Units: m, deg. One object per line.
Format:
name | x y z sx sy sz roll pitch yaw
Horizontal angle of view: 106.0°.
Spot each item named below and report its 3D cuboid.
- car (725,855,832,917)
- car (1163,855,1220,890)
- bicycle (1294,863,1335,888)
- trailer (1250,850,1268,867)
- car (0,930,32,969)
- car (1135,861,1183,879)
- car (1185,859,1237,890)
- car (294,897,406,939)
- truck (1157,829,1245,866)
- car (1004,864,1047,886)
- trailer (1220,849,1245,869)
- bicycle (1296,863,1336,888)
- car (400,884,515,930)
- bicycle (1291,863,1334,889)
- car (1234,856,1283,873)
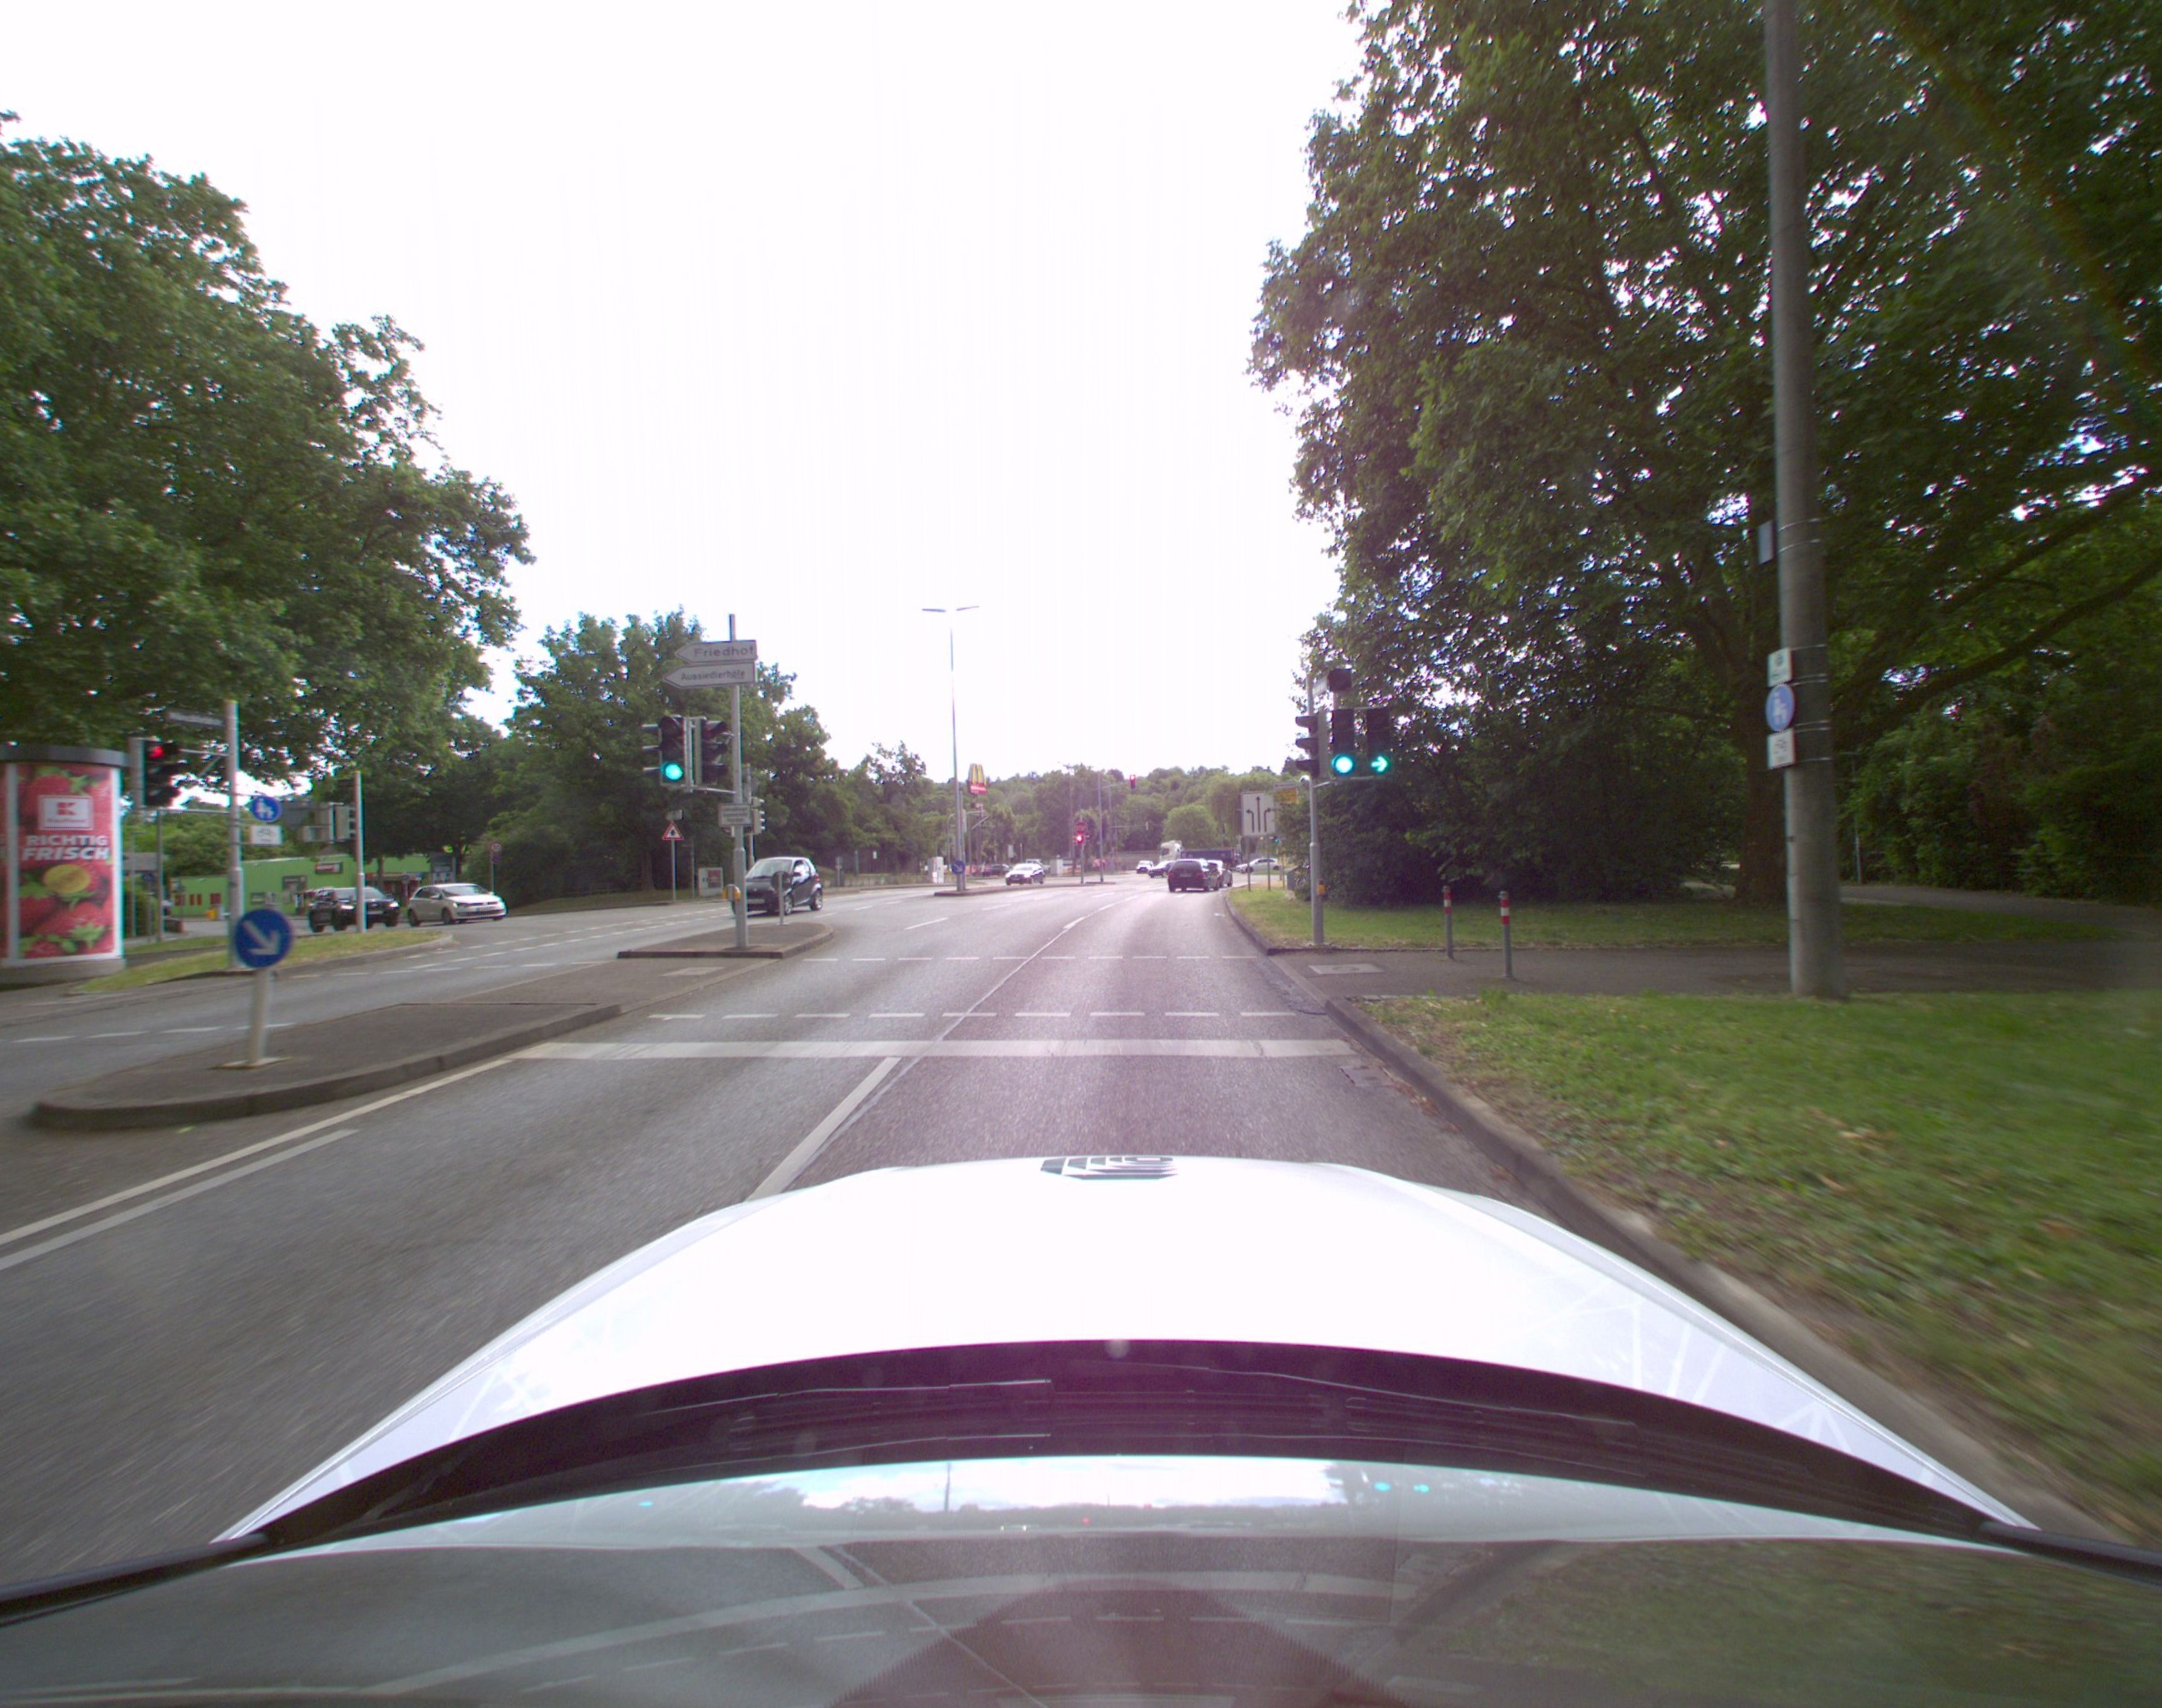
car | -8.310 0.835 22.644 1.561 1.527 3.193 -2 0 4
car | 5.145 0.871 37.392 1.808 1.509 4.594 0 -2 17
bicycle | 10.785 1.005 37.629 1.764 1.111 0.457 -2 -2 19
trailer | 24.918 0.665 113.970 1.978 2.184 4.018 -3 -2 17
car | -48.218 4.230 34.964 1.741 1.564 3.756 -2 -1 32
car | 6.862 1.386 71.557 3.898 1.416 1.609 -2 -1 -23
car | 7.298 1.115 45.295 1.711 1.530 4.172 -3 -1 25
car | -30.063 2.620 33.481 4.216 1.546 2.012 -3 -1 27
truck | 13.349 -0.675 91.036 9.015 3.588 3.238 -3 -2 26
car | -3.674 1.392 54.375 1.666 1.366 4.326 -1 -1 13
trailer | 20.983 0.727 112.453 2.332 2.582 4.945 -3 -2 21
bicycle | 11.040 1.011 38.344 1.766 1.111 0.582 -2 -2 14
car | -22.005 1.858 28.736 3.805 1.479 1.837 -3 -1 29
bicycle | 10.470 1.017 36.847 1.761 1.111 0.428 -3 -3 32
car | 16.931 1.018 77.684 4.270 1.405 1.603 -2 -1 -5
